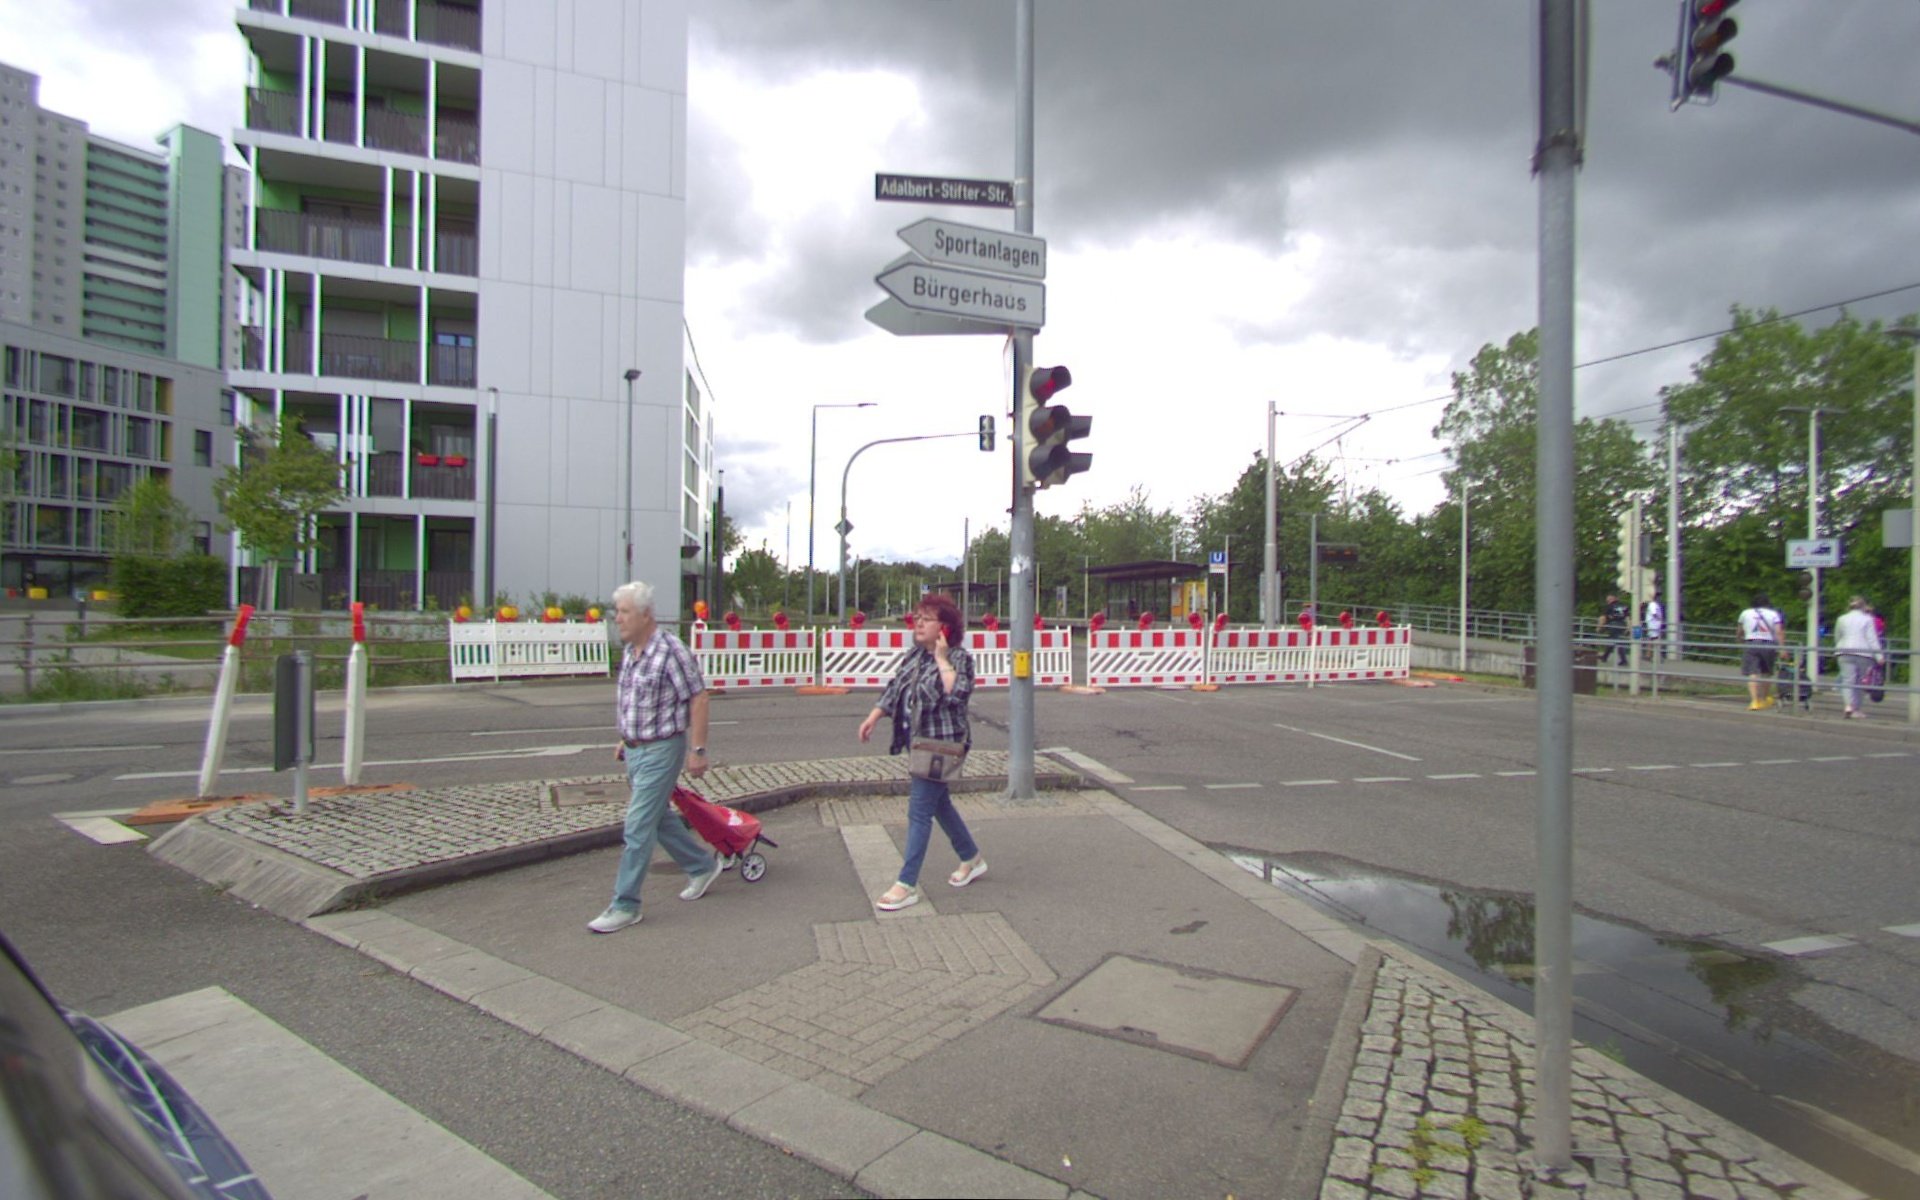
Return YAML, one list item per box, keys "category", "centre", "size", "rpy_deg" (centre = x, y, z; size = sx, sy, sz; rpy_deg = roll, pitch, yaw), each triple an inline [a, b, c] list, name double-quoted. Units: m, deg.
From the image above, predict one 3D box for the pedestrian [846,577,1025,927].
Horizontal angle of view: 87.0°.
- category: "pedestrian"
  centre: [-0.141, 0.690, 5.000]
  size: [0.720, 1.579, 0.694]
  rpy_deg: [0, -1, -16]

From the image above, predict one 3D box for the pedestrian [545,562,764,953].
- category: "pedestrian"
  centre: [-1.427, 0.654, 4.746]
  size: [0.698, 1.646, 0.713]
  rpy_deg: [0, 1, 40]

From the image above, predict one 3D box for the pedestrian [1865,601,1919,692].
- category: "pedestrian"
  centre: [17.269, 0.839, 18.507]
  size: [0.792, 1.633, 0.724]
  rpy_deg: [0, -1, -10]

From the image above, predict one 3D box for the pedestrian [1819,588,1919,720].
- category: "pedestrian"
  centre: [12.569, 0.728, 13.894]
  size: [0.943, 1.761, 0.723]
  rpy_deg: [0, -1, -4]

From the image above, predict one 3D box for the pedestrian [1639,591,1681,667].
- category: "pedestrian"
  centre: [16.619, 0.674, 24.056]
  size: [0.719, 1.761, 0.948]
  rpy_deg: [0, -1, 29]

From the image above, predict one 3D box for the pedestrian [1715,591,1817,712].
- category: "pedestrian"
  centre: [12.039, 0.748, 15.135]
  size: [0.943, 1.761, 0.723]
  rpy_deg: [0, -1, -4]

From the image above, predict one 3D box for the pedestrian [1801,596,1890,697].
- category: "pedestrian"
  centre: [15.902, 0.808, 18.193]
  size: [0.710, 1.761, 0.960]
  rpy_deg: [0, -1, -15]
